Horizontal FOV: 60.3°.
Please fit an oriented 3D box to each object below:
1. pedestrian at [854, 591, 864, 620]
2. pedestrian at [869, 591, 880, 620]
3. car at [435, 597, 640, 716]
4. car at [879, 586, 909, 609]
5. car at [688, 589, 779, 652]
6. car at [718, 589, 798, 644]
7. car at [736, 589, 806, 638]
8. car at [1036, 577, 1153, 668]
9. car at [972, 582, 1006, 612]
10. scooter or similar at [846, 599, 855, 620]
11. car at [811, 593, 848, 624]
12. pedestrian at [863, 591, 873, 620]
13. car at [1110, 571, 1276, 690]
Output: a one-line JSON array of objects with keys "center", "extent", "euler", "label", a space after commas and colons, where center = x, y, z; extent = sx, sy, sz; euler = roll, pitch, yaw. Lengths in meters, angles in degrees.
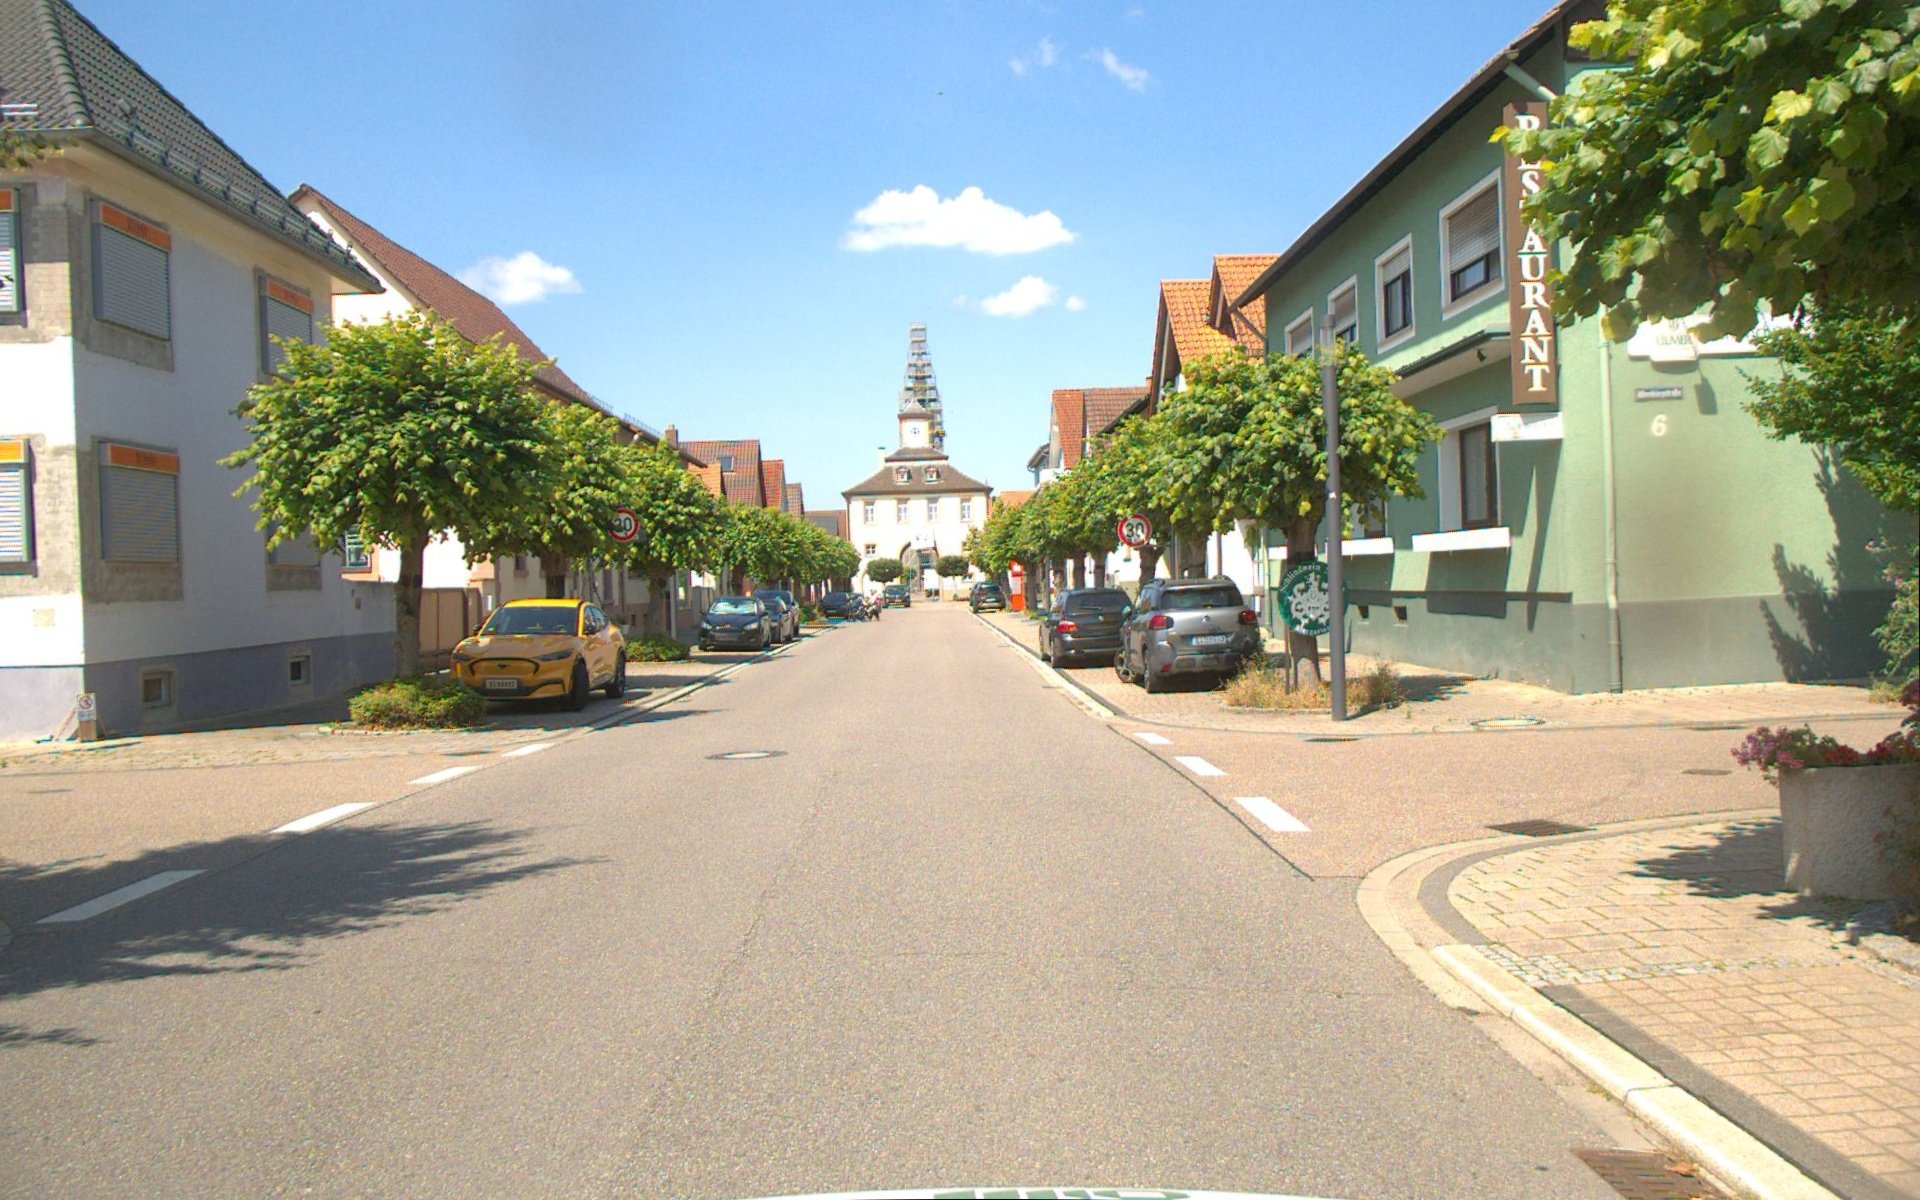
[{"center": [-4.954, 0.280, 81.176], "extent": [0.351, 1.427, 0.319], "euler": [-2, 0, 36], "label": "pedestrian"}, {"center": [-4.173, 0.273, 80.531], "extent": [0.351, 1.427, 0.319], "euler": [-2, 0, 36], "label": "pedestrian"}, {"center": [-6.395, 0.795, 25.585], "extent": [1.953, 1.639, 4.689], "euler": [0, 0, 0], "label": "car"}, {"center": [-4.801, -0.155, 119.903], "extent": [1.955, 1.639, 4.501], "euler": [0, 0, -5], "label": "car"}, {"center": [-6.376, 0.548, 47.024], "extent": [1.953, 1.639, 4.689], "euler": [0, 1, 0], "label": "car"}, {"center": [-6.380, 0.516, 52.756], "extent": [1.953, 1.639, 4.688], "euler": [0, 0, 0], "label": "car"}, {"center": [-6.789, 0.454, 59.778], "extent": [1.953, 1.639, 4.689], "euler": [-2, 0, 0], "label": "car"}, {"center": [2.605, 0.404, 33.039], "extent": [1.800, 1.582, 4.312], "euler": [-4, 0, -1], "label": "car"}, {"center": [1.665, -0.175, 96.020], "extent": [1.800, 1.582, 4.313], "euler": [-4, 0, 0], "label": "car"}, {"center": [-5.350, 0.479, 81.037], "extent": [0.323, 1.020, 0.240], "euler": [-2, 0, 36], "label": "scooter or similar"}, {"center": [-7.074, 0.425, 89.960], "extent": [1.722, 1.582, 4.020], "euler": [-2, 0, -1], "label": "car"}, {"center": [-4.532, 0.280, 81.455], "extent": [0.351, 1.427, 0.319], "euler": [-2, 0, 36], "label": "pedestrian"}, {"center": [3.492, 0.424, 25.506], "extent": [1.800, 1.635, 3.998], "euler": [-2, 0, -2], "label": "car"}]
